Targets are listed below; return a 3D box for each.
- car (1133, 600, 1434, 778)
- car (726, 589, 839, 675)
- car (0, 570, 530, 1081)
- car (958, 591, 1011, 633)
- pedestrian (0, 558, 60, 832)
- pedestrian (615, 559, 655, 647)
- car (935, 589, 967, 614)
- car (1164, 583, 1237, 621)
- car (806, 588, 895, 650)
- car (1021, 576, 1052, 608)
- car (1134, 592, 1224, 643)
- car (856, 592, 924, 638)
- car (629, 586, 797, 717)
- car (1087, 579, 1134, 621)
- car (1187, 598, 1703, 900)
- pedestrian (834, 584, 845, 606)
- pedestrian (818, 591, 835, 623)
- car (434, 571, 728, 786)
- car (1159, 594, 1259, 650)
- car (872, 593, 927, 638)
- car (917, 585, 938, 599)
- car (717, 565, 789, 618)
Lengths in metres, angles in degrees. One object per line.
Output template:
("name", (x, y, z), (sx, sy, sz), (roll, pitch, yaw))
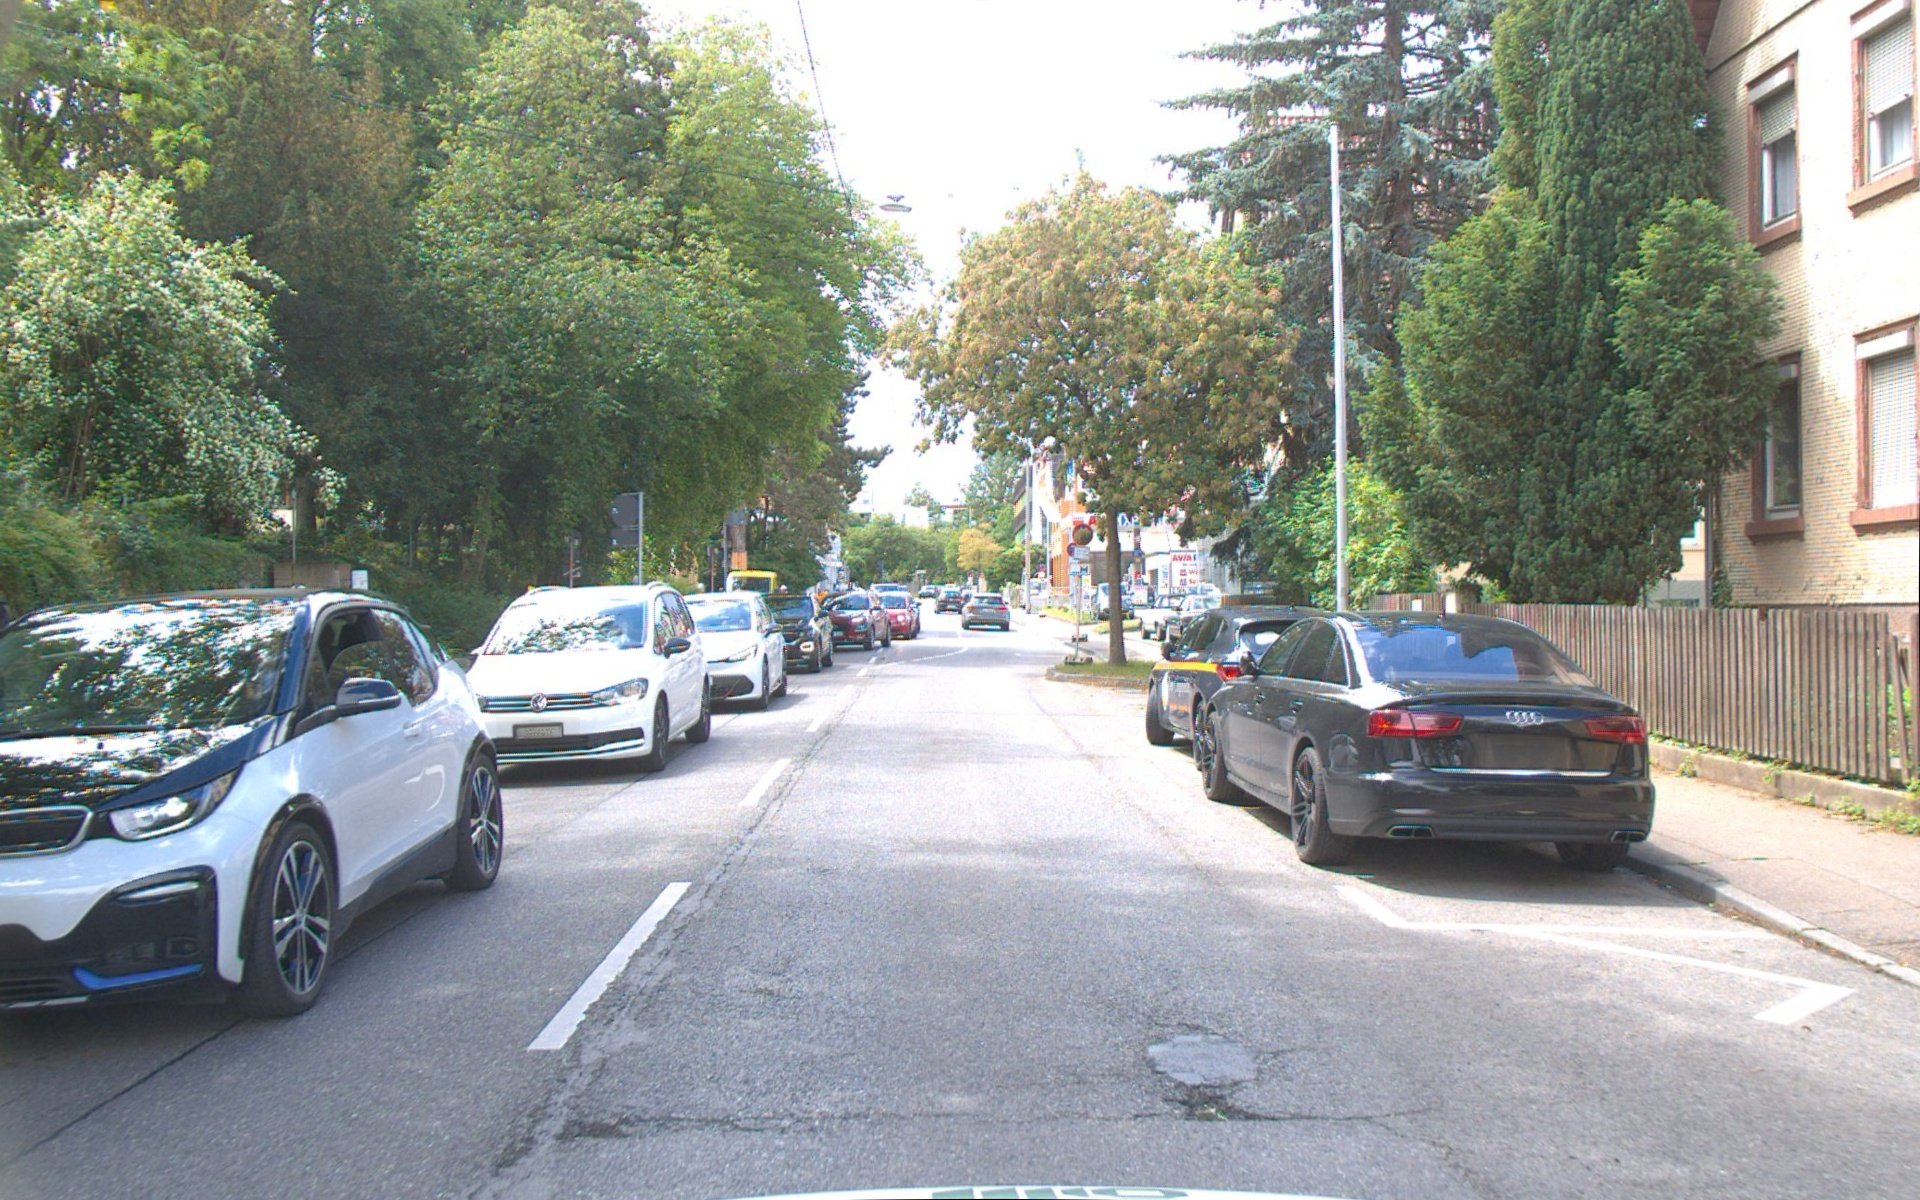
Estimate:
("car", (2.953, 0.750, 16.105), (1.788, 1.442, 4.506), (1, 0, -3))
("car", (-3.486, 0.581, 33.179), (1.752, 1.569, 4.264), (-2, 0, 0))
("car", (-3.357, 0.728, 7.250), (1.889, 1.573, 4.085), (-3, 0, -1))
("car", (0.955, 0.456, 66.879), (1.936, 1.539, 4.266), (3, 0, -1))
("pedestrian", (-6.284, 0.588, 10.533), (0.640, 1.696, 0.930), (0, -1, -7))
("pedestrian", (-6.695, 0.064, 34.064), (0.700, 1.793, 1.120), (0, -1, -7))
("car", (-0.578, 0.074, 102.327), (1.780, 1.527, 4.264), (1, 0, -3))
("car", (8.934, 0.055, 61.614), (1.806, 1.379, 4.064), (0, 0, -5))
("car", (-2.942, 0.470, 45.061), (1.724, 1.560, 4.099), (-1, 0, 6))
("car", (5.115, -0.501, 110.789), (1.952, 2.049, 4.000), (0, -1, 0))
("car", (6.204, 0.472, 47.355), (1.689, 1.387, 4.481), (0, 0, -4))
("car", (-2.258, 0.477, 54.102), (1.655, 1.450, 3.440), (0, -1, 7))
("car", (-3.353, 0.648, 23.203), (1.749, 1.619, 4.153), (-2, 0, -1))
("car", (6.515, -0.007, 71.721), (1.747, 1.663, 3.693), (-3, 0, 2))
("car", (2.819, 0.763, 10.893), (1.765, 1.470, 4.885), (2, 0, -2))
("pedestrian", (-8.220, -0.334, 113.072), (0.690, 1.465, 0.714), (0, -1, 3))
("pedestrian", (-6.161, 0.346, 76.401), (0.692, 1.465, 0.711), (0, -1, -13))
("car", (-3.372, 0.618, 15.608), (1.750, 1.676, 4.490), (-2, 0, -1))
("car", (6.304, 0.533, 42.305), (1.690, 1.339, 4.264), (0, 0, -3))
("car", (-2.220, 0.587, 62.108), (1.889, 1.605, 4.295), (0, -1, 0))
("car", (-3.593, -0.866, 183.430), (2.067, 1.527, 4.267), (0, 0, 1))
("car", (-8.107, -0.286, 65.291), (2.101, 2.015, 4.931), (0, -1, 1))
